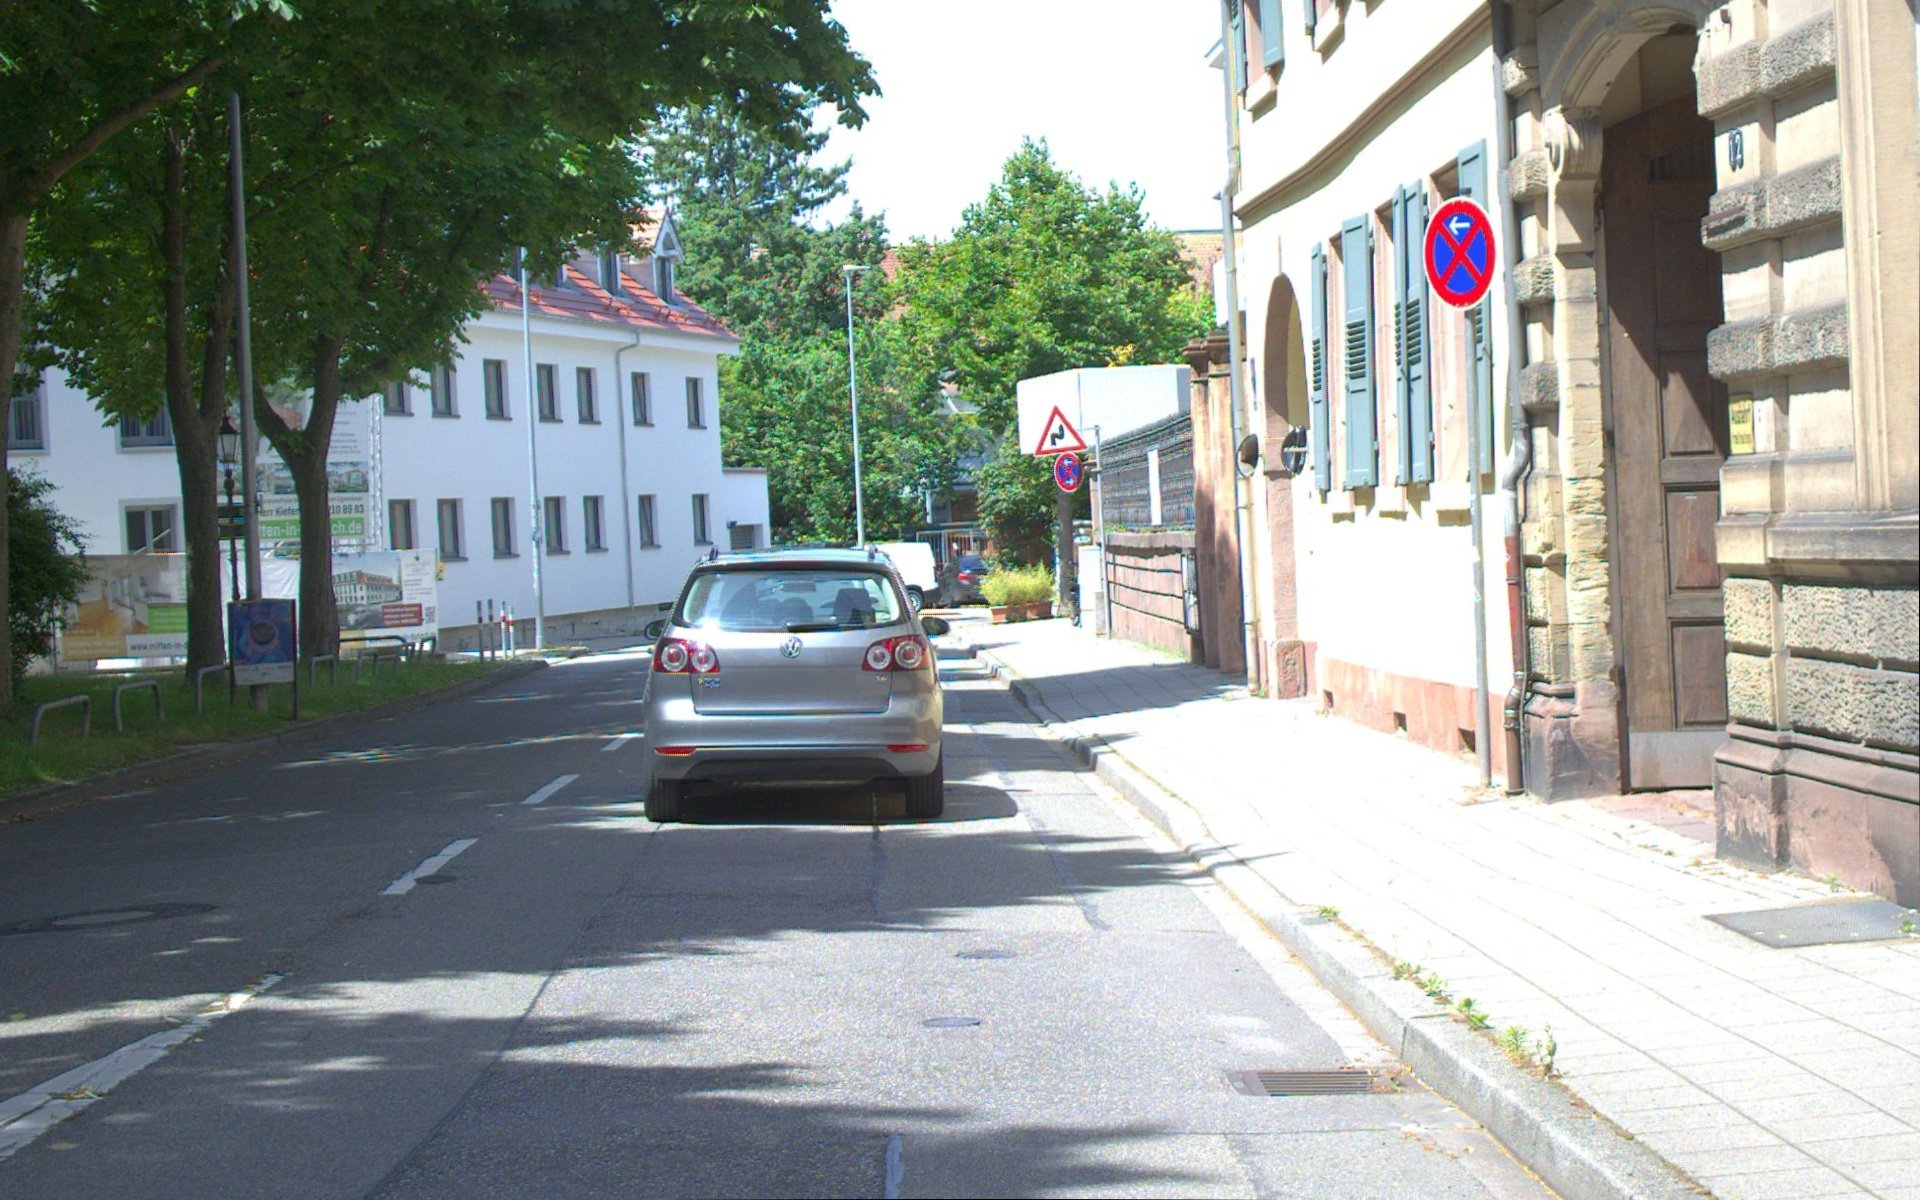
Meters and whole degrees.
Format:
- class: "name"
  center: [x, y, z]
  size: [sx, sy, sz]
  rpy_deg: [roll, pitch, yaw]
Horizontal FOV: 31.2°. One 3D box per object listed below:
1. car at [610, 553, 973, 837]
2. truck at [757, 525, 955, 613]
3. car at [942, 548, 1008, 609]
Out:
- class: "car"
  center: [-0.921, 0.498, 21.027]
  size: [1.903, 1.528, 4.243]
  rpy_deg: [-1, 1, 1]
- class: "truck"
  center: [-2.685, -0.795, 88.072]
  size: [4.792, 2.007, 2.146]
  rpy_deg: [-3, 1, -8]
- class: "car"
  center: [0.380, -0.594, 92.793]
  size: [1.647, 1.568, 3.639]
  rpy_deg: [-2, 1, -1]
